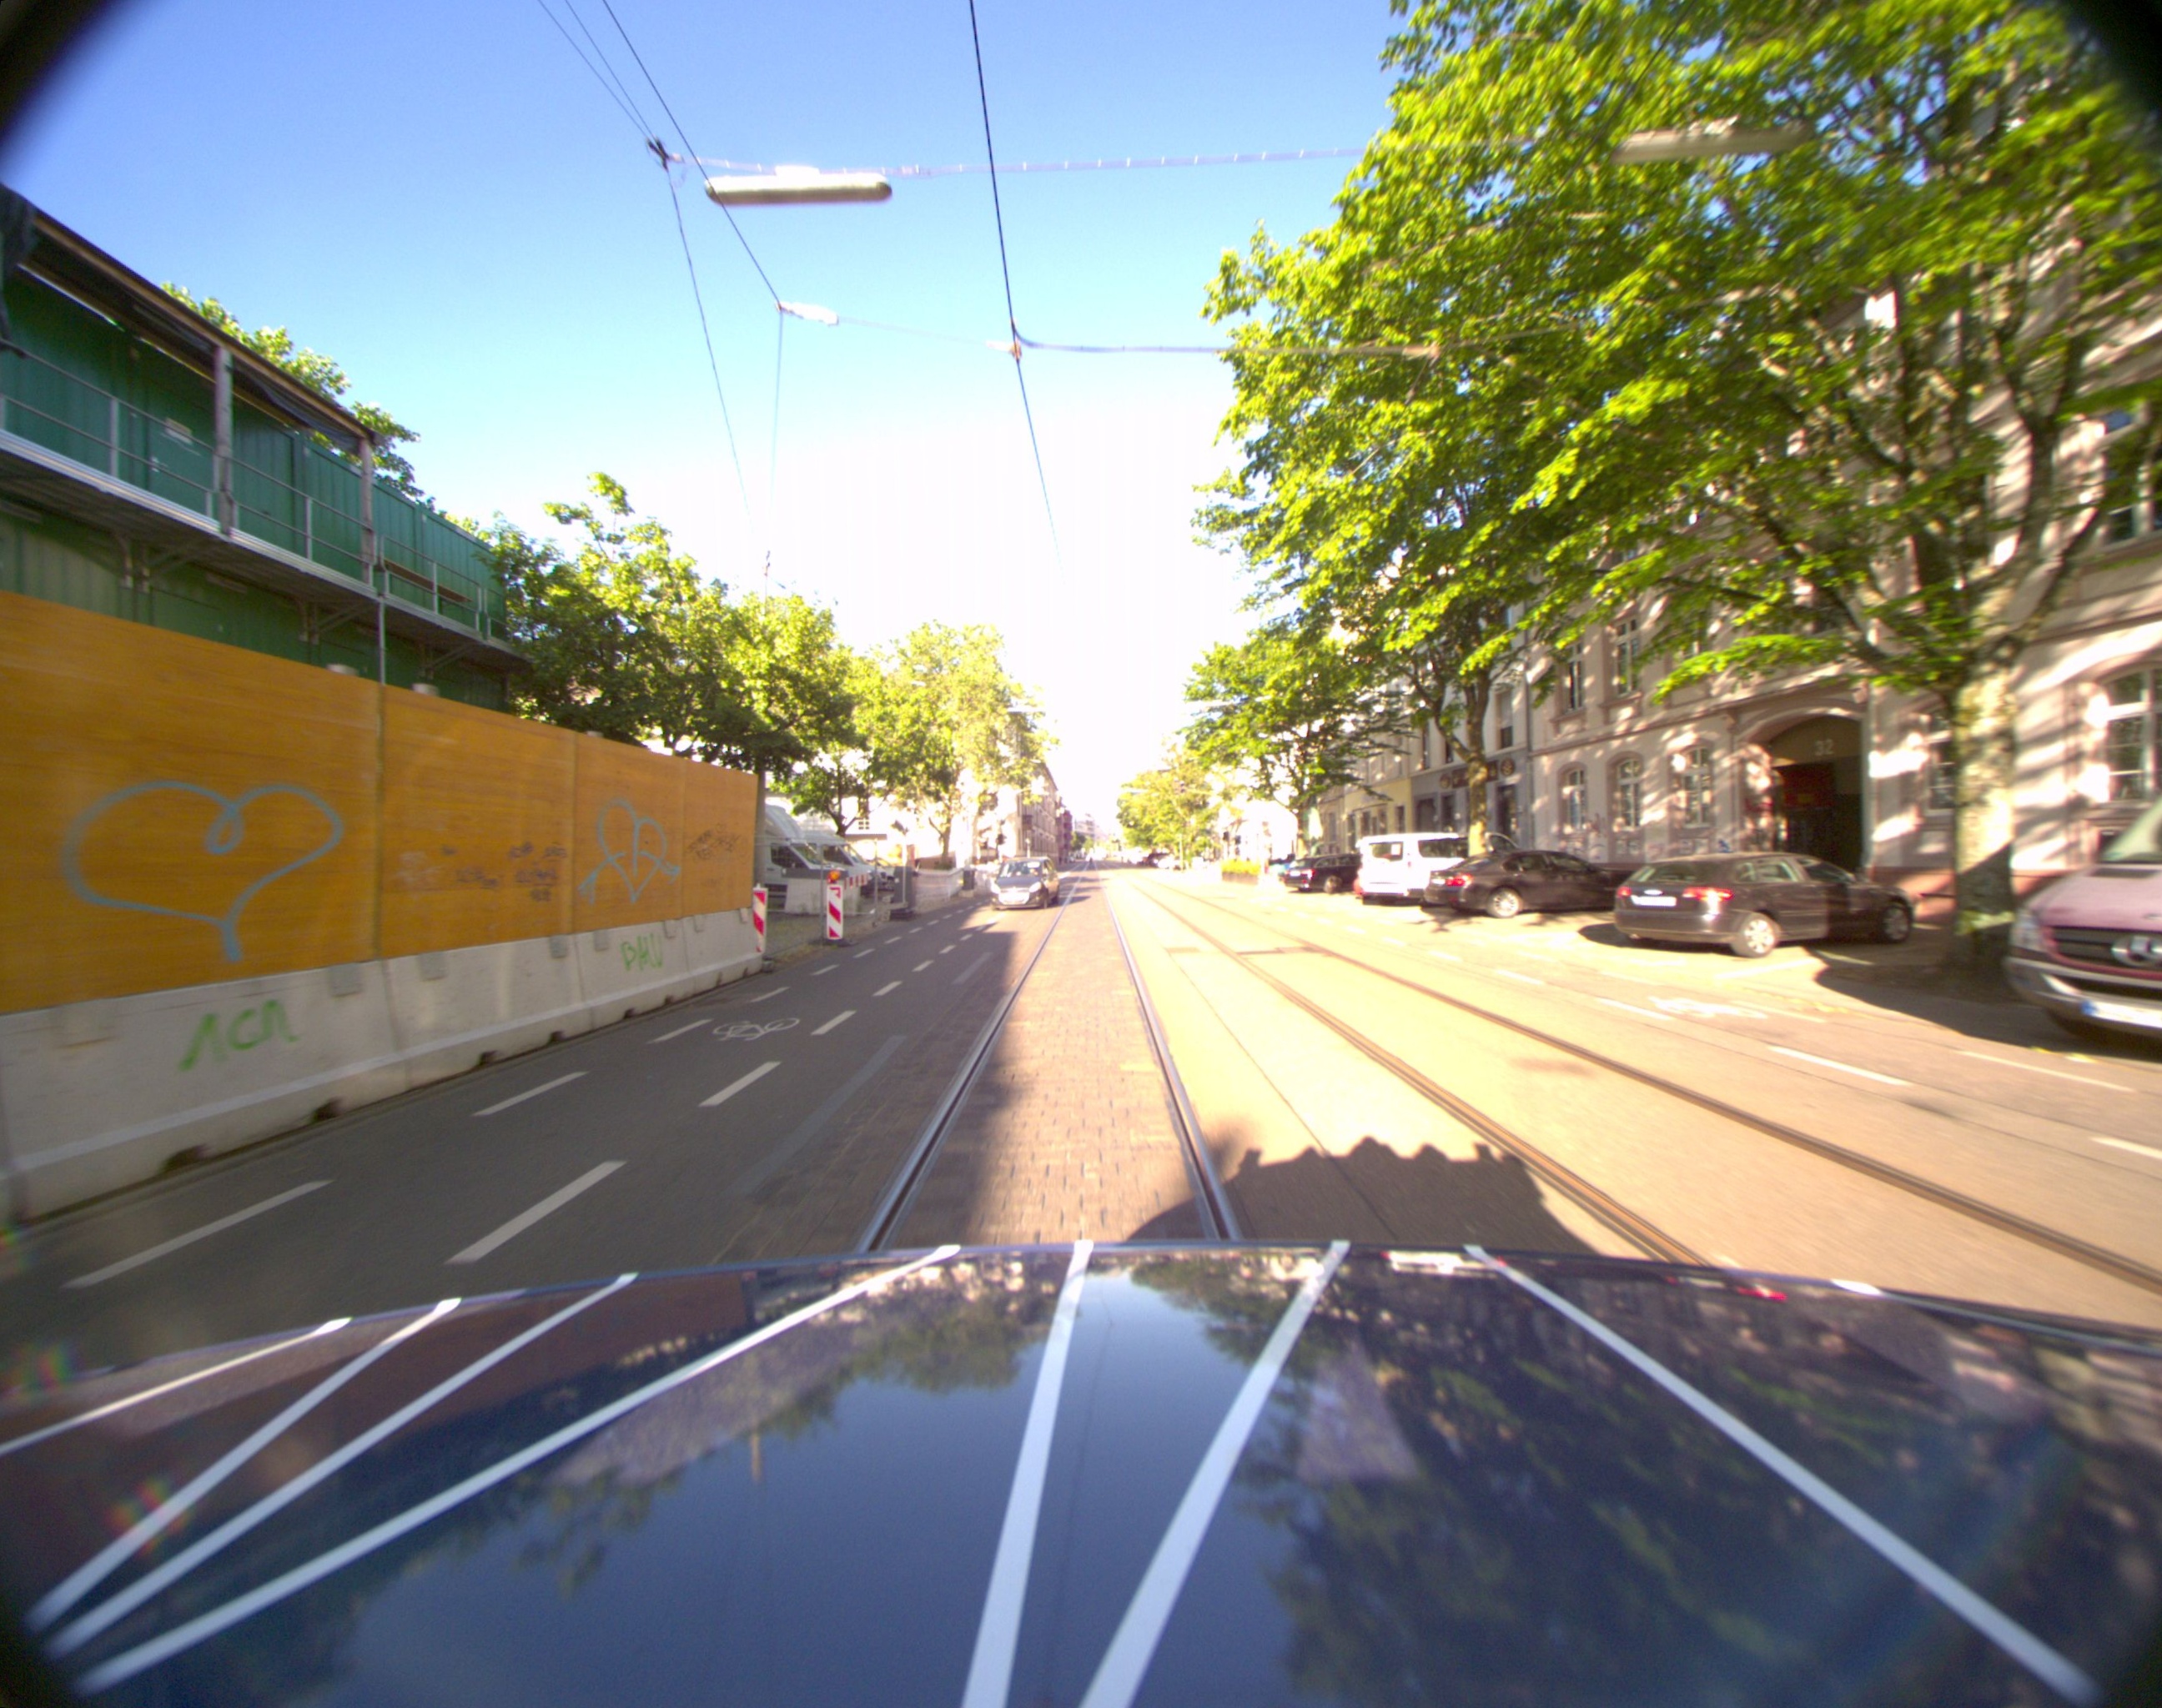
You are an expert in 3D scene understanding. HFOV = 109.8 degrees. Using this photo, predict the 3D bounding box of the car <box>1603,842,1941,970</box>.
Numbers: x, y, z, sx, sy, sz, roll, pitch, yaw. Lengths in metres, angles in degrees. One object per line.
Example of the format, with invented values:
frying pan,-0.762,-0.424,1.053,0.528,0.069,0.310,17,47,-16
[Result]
car,10.097,0.669,11.169,4.101,1.445,1.668,-3,1,-14

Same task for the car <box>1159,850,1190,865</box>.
car,10.787,0.409,87.861,3.336,1.445,1.496,-3,2,3

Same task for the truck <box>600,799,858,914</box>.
truck,-11.071,0.065,24.364,7.093,3.399,2.371,-1,1,0

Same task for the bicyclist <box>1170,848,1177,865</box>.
bicyclist,7.786,0.225,63.990,0.419,1.462,0.590,-1,1,-4

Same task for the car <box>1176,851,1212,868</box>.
car,10.892,0.551,73.576,3.335,1.445,1.496,-3,2,8

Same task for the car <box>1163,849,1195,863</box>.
car,10.789,0.216,83.815,3.336,1.445,1.496,-3,2,3

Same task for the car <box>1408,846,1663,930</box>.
car,10.303,0.733,17.465,4.708,1.567,1.954,-3,0,-3

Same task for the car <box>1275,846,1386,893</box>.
car,9.650,0.557,29.336,4.005,1.549,1.777,-3,1,-29

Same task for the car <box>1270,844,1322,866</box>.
car,17.441,0.105,61.893,3.993,1.740,2.002,-1,0,13

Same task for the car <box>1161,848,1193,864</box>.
car,10.266,0.212,81.381,3.336,1.445,1.496,-3,2,3

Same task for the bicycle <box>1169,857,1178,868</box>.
bicycle,7.788,0.723,63.978,0.451,0.931,1.757,-1,0,-3

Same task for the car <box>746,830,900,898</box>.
car,-10.124,0.362,30.107,5.335,2.547,2.013,-1,1,0

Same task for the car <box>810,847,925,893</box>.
car,-10.163,0.727,36.381,4.793,1.998,2.001,-2,1,5

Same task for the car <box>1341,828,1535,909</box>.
car,9.964,0.339,21.211,4.946,2.002,2.071,-1,1,-22

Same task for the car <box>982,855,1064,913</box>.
car,-1.750,0.892,24.353,1.749,1.612,4.172,-2,0,7

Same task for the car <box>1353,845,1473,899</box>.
car,10.564,0.572,24.211,3.342,1.445,1.494,-4,0,-21

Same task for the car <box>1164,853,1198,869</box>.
car,10.295,0.716,78.657,3.337,1.445,1.496,-3,2,2

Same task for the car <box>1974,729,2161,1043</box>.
car,9.463,0.142,5.094,4.448,2.105,2.163,-2,1,-1
